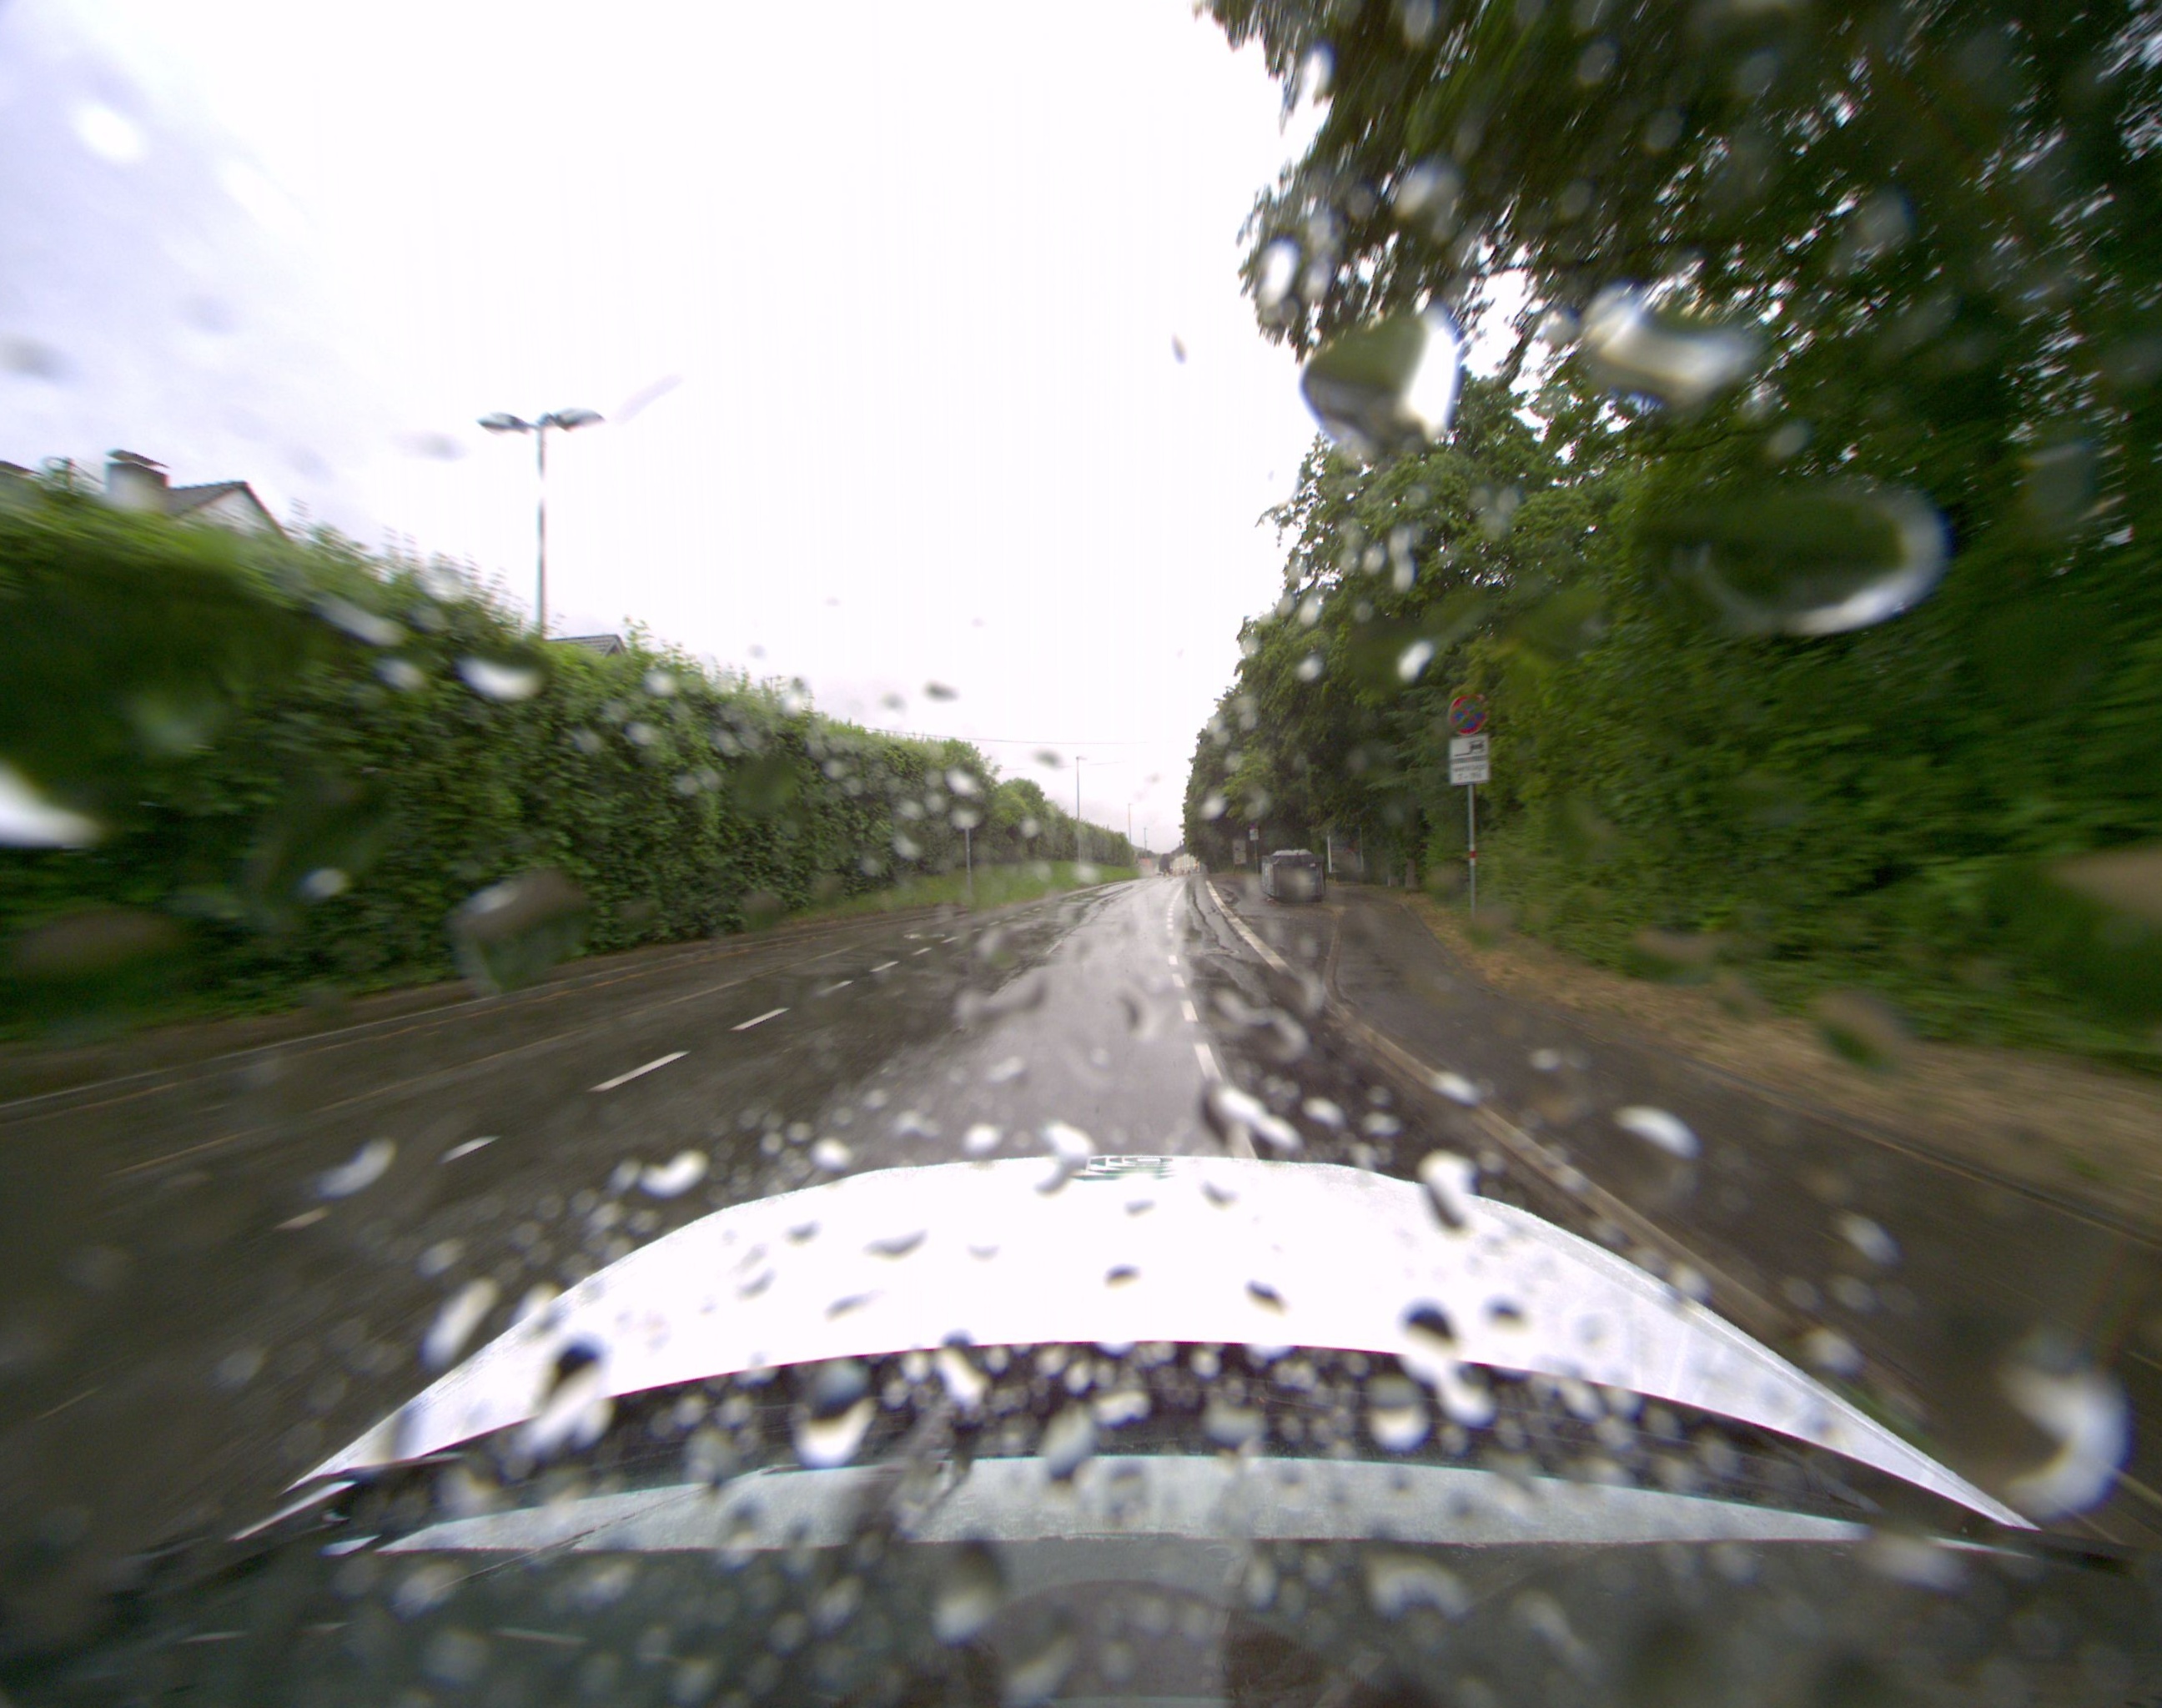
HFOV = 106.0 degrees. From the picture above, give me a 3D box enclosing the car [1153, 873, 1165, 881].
[{"bbox_3d":[16.225,4.857,169.948,1.988,1.611,3.998,0,0,-1],"label":"car"}]
